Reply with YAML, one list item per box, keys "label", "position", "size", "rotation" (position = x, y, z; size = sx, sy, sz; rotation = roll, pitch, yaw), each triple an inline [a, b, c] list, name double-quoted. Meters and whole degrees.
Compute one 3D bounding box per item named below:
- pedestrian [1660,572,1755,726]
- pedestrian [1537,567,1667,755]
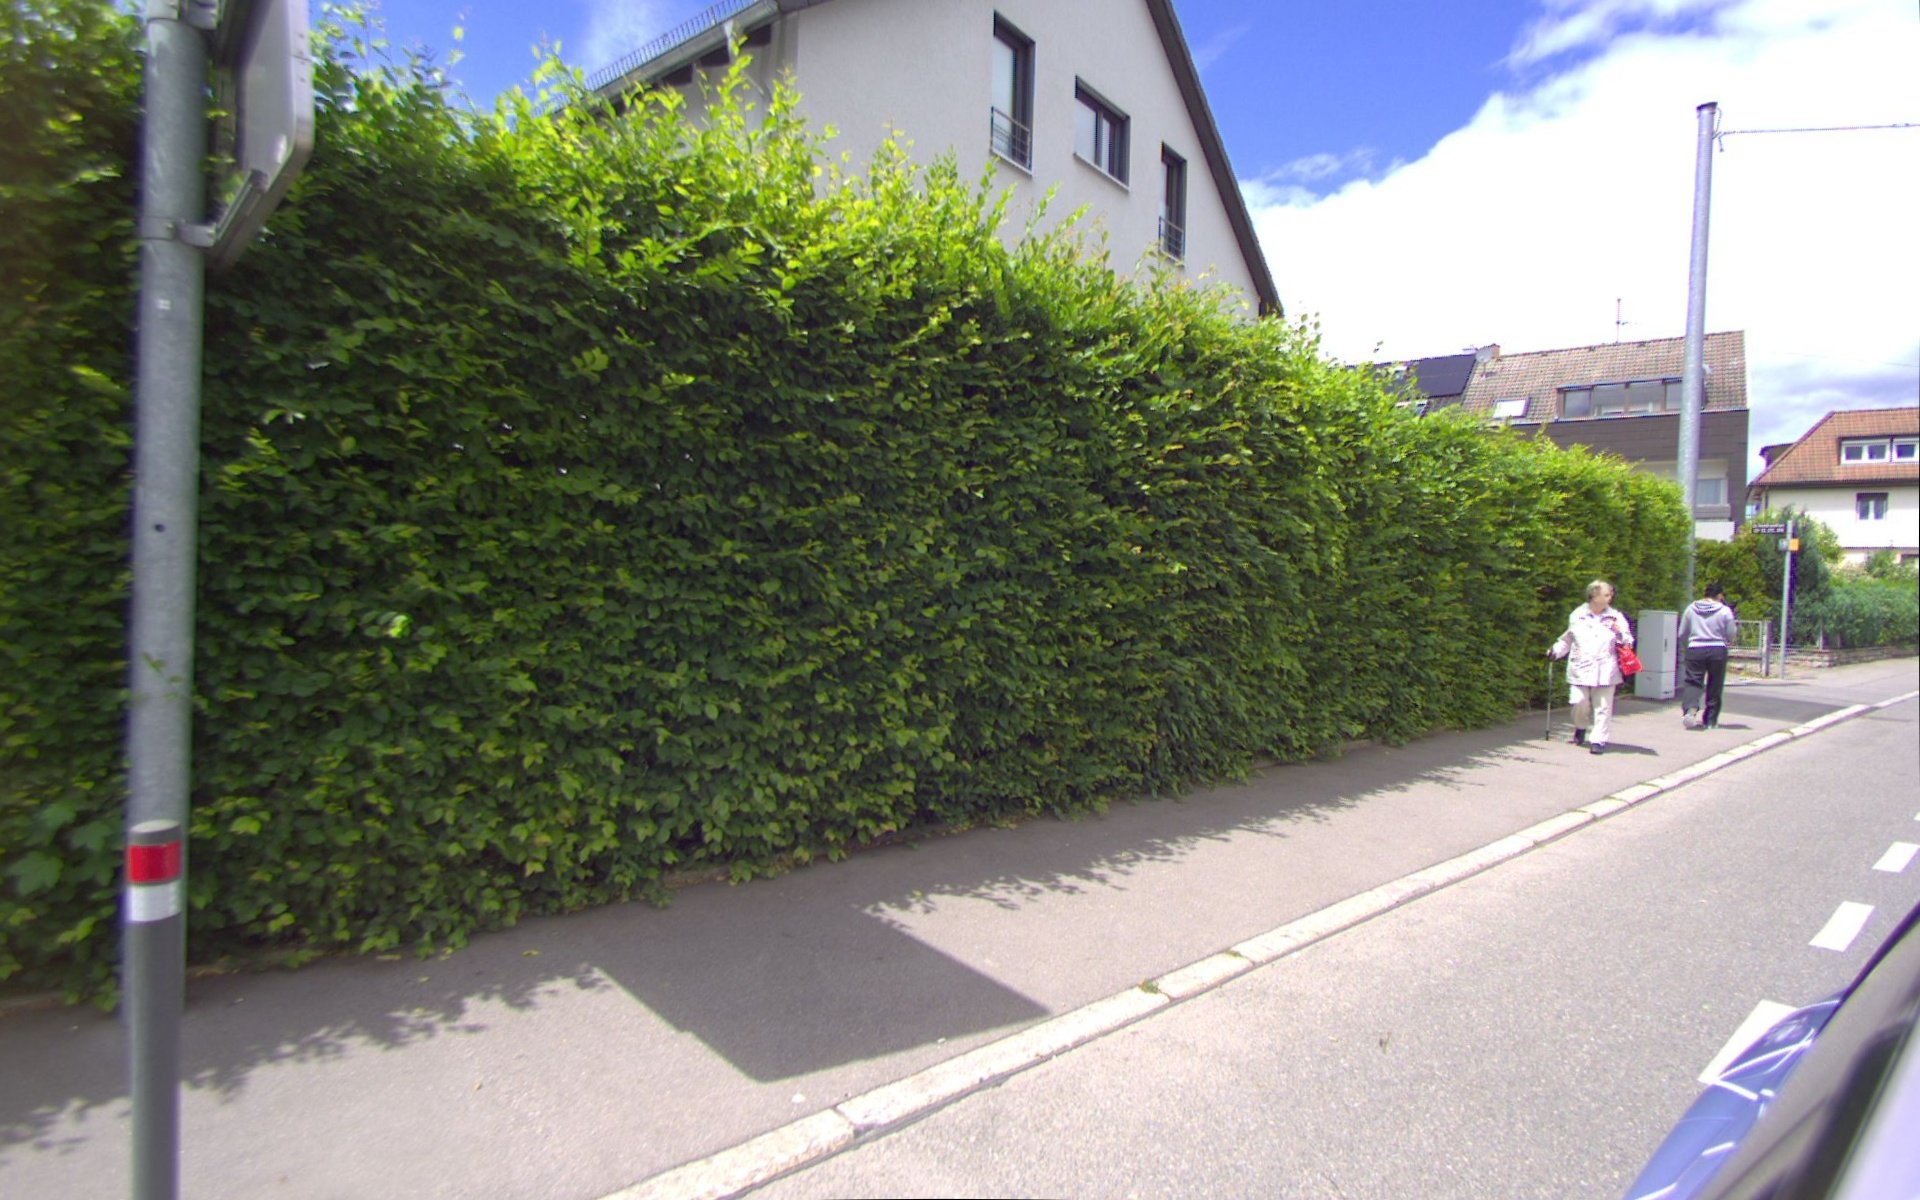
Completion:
- label: "pedestrian"
  position: [8.343, 0.522, 11.299]
  size: [0.821, 1.625, 0.604]
  rotation: [0, 3, -40]
- label: "pedestrian"
  position: [5.978, 0.532, 9.436]
  size: [0.641, 1.637, 0.801]
  rotation: [0, 2, -39]
